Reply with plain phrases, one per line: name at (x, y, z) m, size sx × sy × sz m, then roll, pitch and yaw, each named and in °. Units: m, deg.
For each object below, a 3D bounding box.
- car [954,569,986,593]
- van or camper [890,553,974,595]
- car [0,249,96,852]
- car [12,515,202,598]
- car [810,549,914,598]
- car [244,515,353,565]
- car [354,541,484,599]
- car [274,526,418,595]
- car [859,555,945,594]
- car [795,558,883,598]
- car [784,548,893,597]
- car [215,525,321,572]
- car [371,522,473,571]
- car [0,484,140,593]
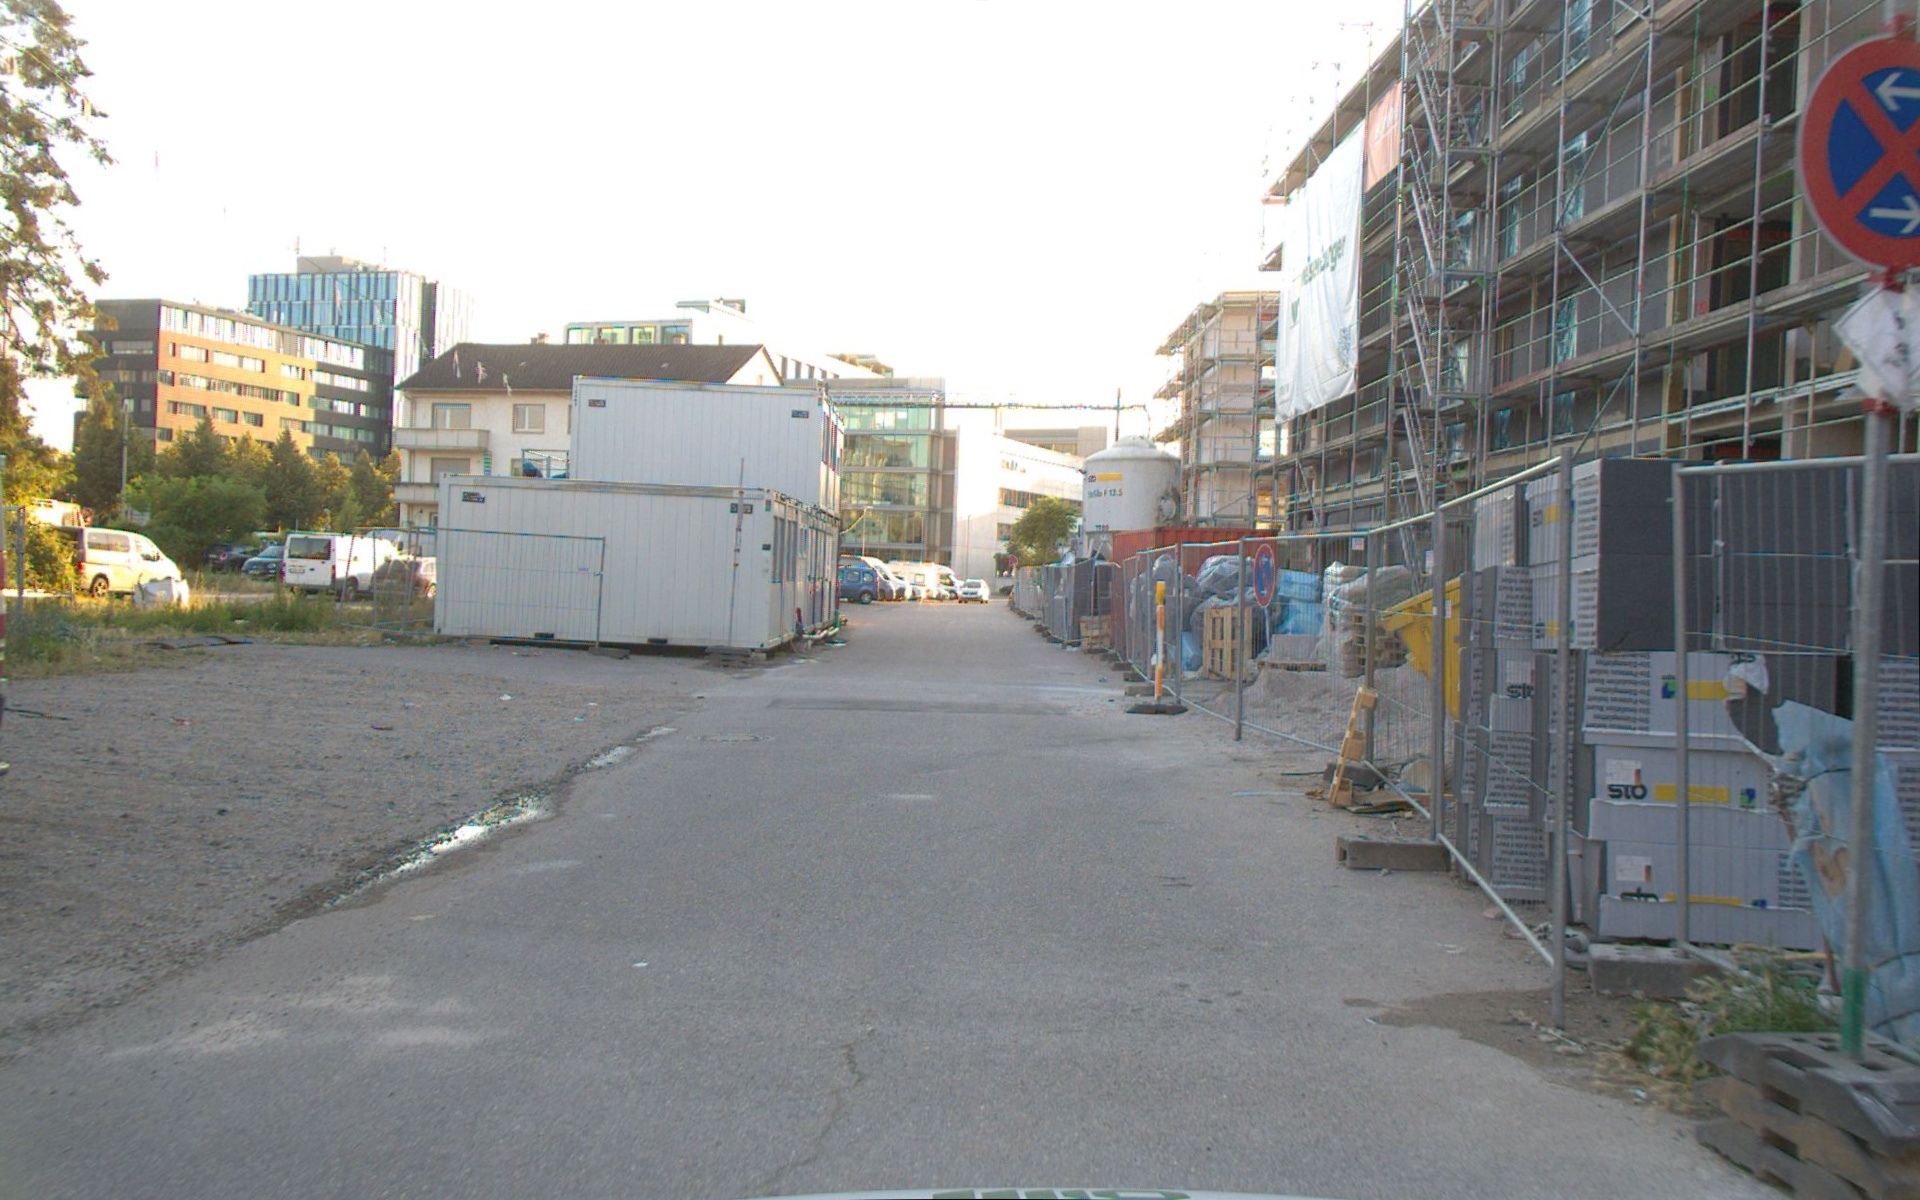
car at (0.718, -1.305, 114.298) m, size 1.629 × 1.555 × 3.914 m, roll 2°, pitch 1°, yaw 8°
van or camper at (-2.228, -2.038, 131.427) m, size 6.198 × 3.030 × 2.294 m, roll 3°, pitch 0°, yaw 12°
car at (-7.051, -0.350, 6.943) m, size 5.572 × 2.671 × 2.222 m, roll 3°, pitch 1°, yaw 1°
car at (-22.588, -1.116, 44.033) m, size 1.951 × 2.008 × 4.862 m, roll 2°, pitch 1°, yaw 9°
car at (-6.033, -1.656, 102.100) m, size 6.198 × 2.788 × 2.000 m, roll 2°, pitch 1°, yaw 0°
car at (-30.235, -2.717, 75.801) m, size 2.259 × 2.048 × 5.062 m, roll 2°, pitch 1°, yaw 10°
car at (-17.323, -0.935, 53.240) m, size 1.969 × 1.681 × 5.062 m, roll 3°, pitch 1°, yaw 7°
car at (-19.936, -1.252, 53.956) m, size 2.259 × 2.048 × 5.062 m, roll 2°, pitch 1°, yaw 7°
car at (-4.117, -1.811, 117.646) m, size 5.797 × 2.533 × 2.002 m, roll 2°, pitch 1°, yaw 11°
car at (-6.208, -1.142, 84.603) m, size 4.416 × 1.901 × 1.998 m, roll 2°, pitch 1°, yaw -6°
car at (-7.205, -1.646, 98.483) m, size 6.198 × 2.697 × 2.000 m, roll 2°, pitch 1°, yaw 0°
car at (-33.006, -2.433, 79.065) m, size 2.259 × 2.048 × 5.062 m, roll 2°, pitch 1°, yaw 10°
car at (-24.677, -2.422, 76.048) m, size 2.259 × 2.048 × 5.062 m, roll 2°, pitch 1°, yaw 10°
car at (-24.533, -1.608, 44.461) m, size 1.951 × 2.739 × 4.862 m, roll 2°, pitch 1°, yaw 9°
